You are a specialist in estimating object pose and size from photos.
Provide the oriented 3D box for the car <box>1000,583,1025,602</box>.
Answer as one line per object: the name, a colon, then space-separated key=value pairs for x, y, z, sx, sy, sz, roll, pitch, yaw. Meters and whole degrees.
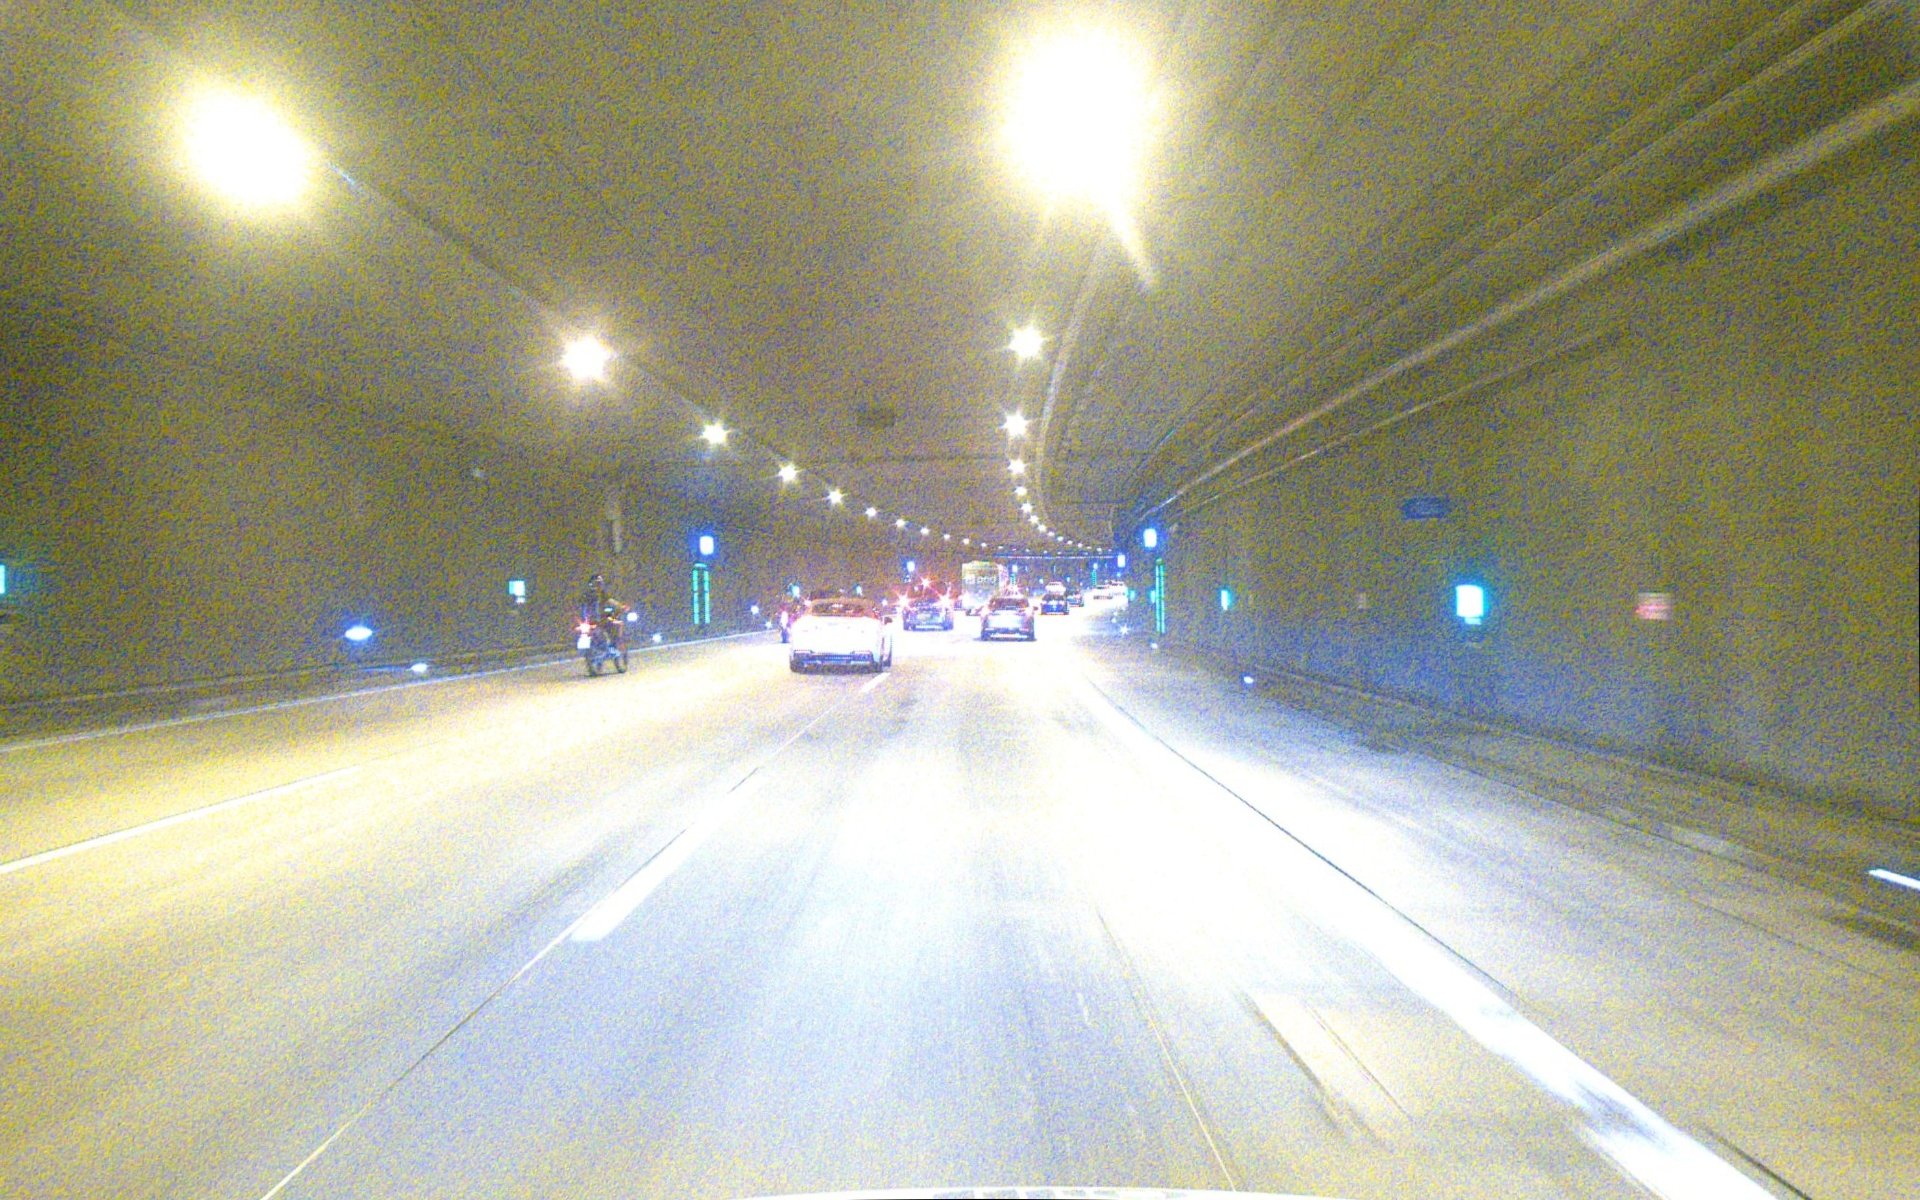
car: x=4.740 y=-0.665 z=149.909 sx=1.889 sy=1.671 sz=4.003 roll=1 pitch=0 yaw=7

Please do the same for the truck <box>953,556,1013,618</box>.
truck: x=1.537 y=-0.828 z=104.189 sx=2.974 sy=3.737 sz=7.398 roll=1 pitch=0 yaw=7

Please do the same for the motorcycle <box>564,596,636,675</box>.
motorcycle: x=-6.346 y=0.604 z=29.276 sx=0.668 sy=1.319 sz=2.399 roll=1 pitch=0 yaw=2

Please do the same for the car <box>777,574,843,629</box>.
car: x=-5.718 y=0.054 z=63.617 sx=1.952 sy=2.049 sz=4.002 roll=1 pitch=0 yaw=3

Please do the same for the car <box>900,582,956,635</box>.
car: x=-1.257 y=0.328 z=67.104 sx=1.869 sy=1.978 sz=3.874 roll=1 pitch=2 yaw=4

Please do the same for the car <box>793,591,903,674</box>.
car: x=-2.170 y=0.586 z=33.231 sx=1.667 sy=1.443 sz=5.062 roll=1 pitch=1 yaw=2

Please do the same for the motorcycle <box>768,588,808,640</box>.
motorcycle: x=-5.113 y=0.409 z=49.067 sx=0.909 sy=1.459 sz=2.956 roll=2 pitch=0 yaw=-10

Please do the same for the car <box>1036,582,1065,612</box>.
car: x=5.949 y=-0.203 z=108.941 sx=1.818 sy=1.887 sz=4.001 roll=1 pitch=0 yaw=2

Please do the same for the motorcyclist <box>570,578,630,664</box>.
motorcyclist: x=-6.357 y=0.364 z=29.237 sx=0.761 sy=1.478 sz=1.069 roll=1 pitch=-1 yaw=2

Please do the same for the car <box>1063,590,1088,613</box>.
car: x=9.614 y=0.122 z=137.418 sx=1.909 sy=1.803 sz=4.002 roll=1 pitch=0 yaw=6

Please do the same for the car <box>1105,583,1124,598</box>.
car: x=18.154 y=-1.119 z=193.809 sx=1.951 sy=1.660 sz=4.003 roll=1 pitch=0 yaw=8

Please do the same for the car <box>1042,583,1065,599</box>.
car: x=10.426 y=-0.943 z=183.910 sx=1.889 sy=1.671 sz=4.003 roll=1 pitch=0 yaw=12

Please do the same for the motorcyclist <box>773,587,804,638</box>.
motorcyclist: x=-5.107 y=0.364 z=49.146 sx=0.791 sy=1.473 sz=1.861 roll=1 pitch=-1 yaw=-9

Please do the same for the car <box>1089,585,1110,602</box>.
car: x=14.647 y=-0.702 z=173.248 sx=1.889 sy=1.671 sz=4.003 roll=1 pitch=0 yaw=8

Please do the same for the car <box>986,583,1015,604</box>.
car: x=3.384 y=-0.519 z=136.062 sx=1.951 sy=1.660 sz=4.003 roll=1 pitch=1 yaw=7

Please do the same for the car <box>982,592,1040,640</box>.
car: x=1.746 y=0.549 z=55.410 sx=1.705 sy=1.490 sz=3.873 roll=2 pitch=-1 yaw=5
